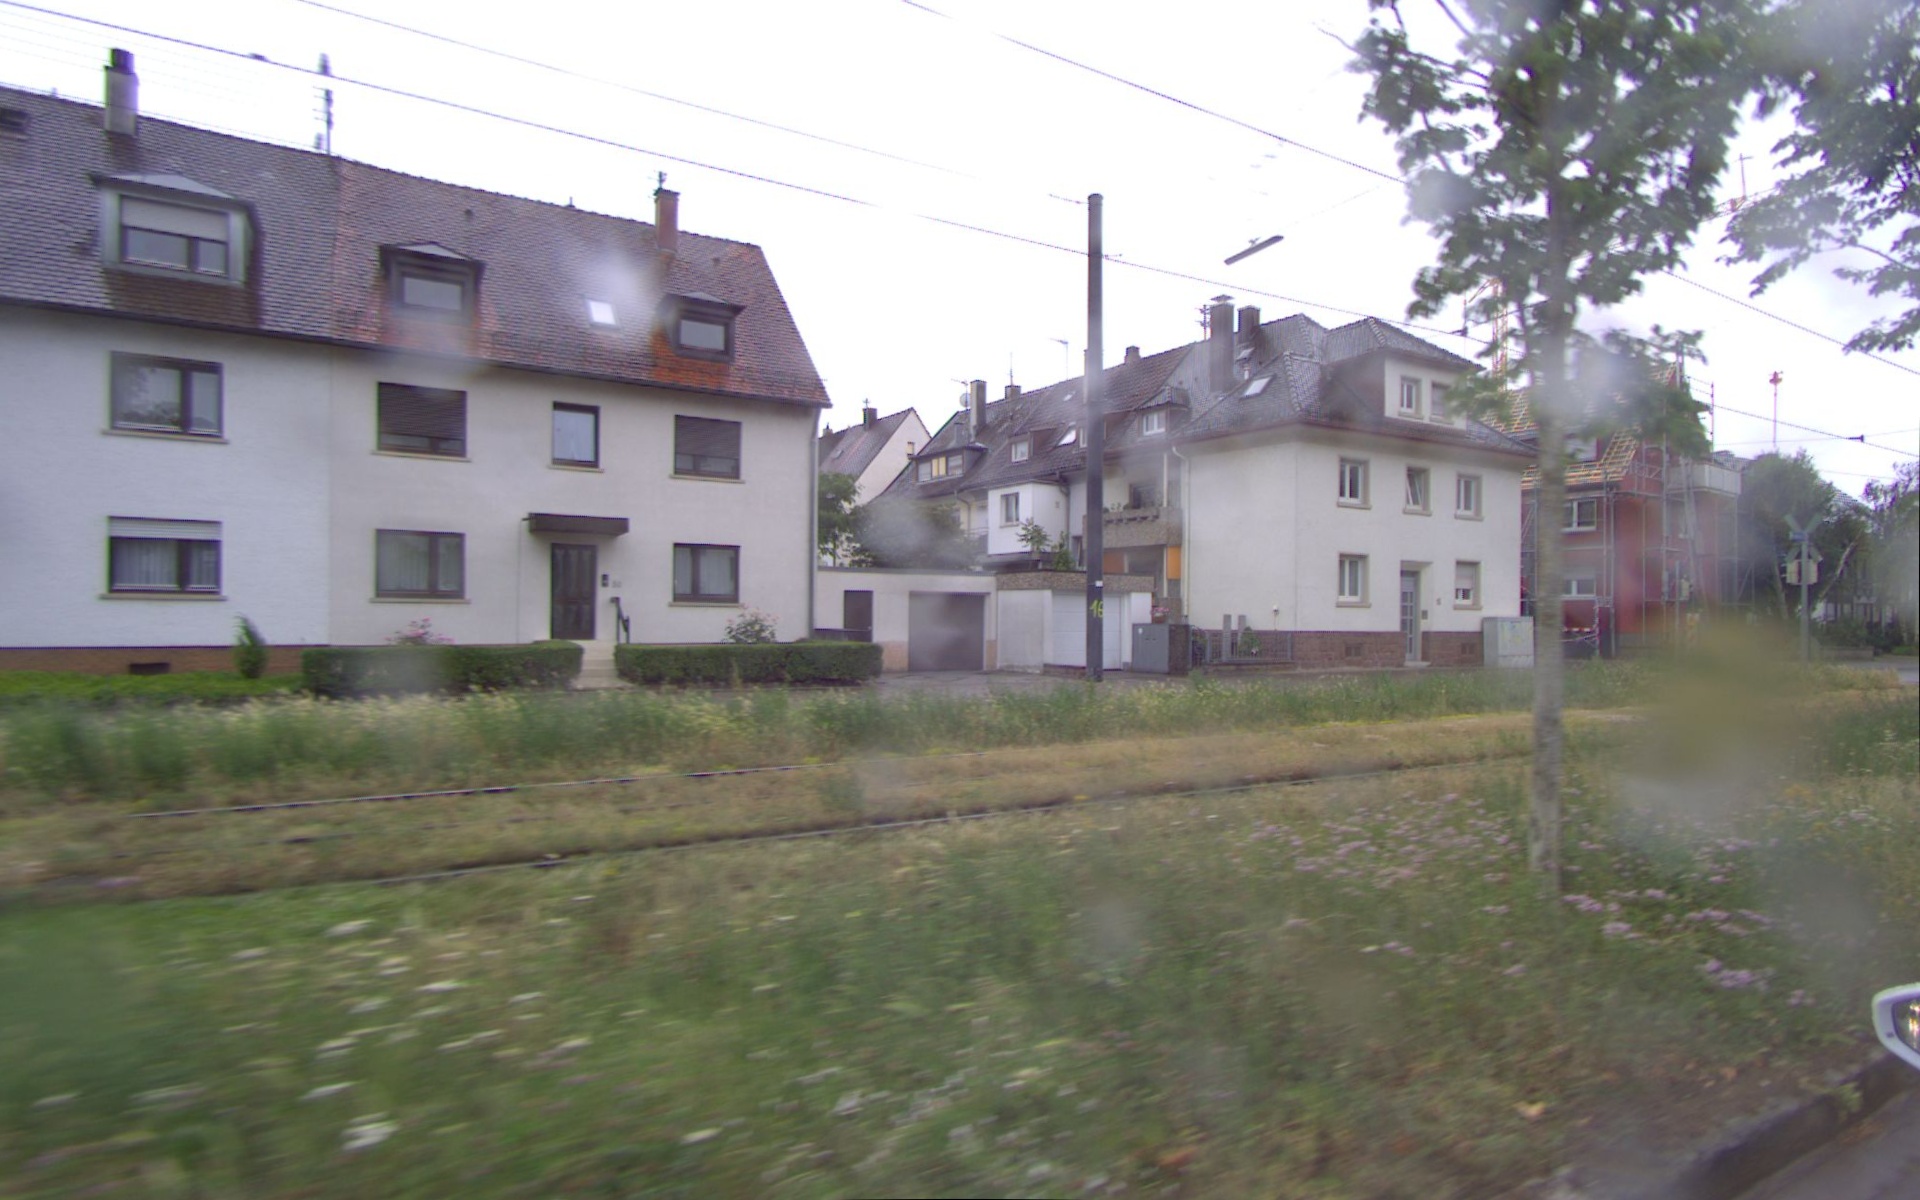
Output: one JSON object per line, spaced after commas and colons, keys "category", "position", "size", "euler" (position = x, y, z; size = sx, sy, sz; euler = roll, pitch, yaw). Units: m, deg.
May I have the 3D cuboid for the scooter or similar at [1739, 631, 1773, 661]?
{"category": "scooter or similar", "position": [32.016, 1.864, 40.402], "size": [1.261, 1.196, 0.394], "euler": [1, -1, -14]}

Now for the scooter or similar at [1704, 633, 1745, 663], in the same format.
{"category": "scooter or similar", "position": [29.454, 1.854, 38.698], "size": [1.257, 1.144, 0.441], "euler": [1, -1, 1]}
